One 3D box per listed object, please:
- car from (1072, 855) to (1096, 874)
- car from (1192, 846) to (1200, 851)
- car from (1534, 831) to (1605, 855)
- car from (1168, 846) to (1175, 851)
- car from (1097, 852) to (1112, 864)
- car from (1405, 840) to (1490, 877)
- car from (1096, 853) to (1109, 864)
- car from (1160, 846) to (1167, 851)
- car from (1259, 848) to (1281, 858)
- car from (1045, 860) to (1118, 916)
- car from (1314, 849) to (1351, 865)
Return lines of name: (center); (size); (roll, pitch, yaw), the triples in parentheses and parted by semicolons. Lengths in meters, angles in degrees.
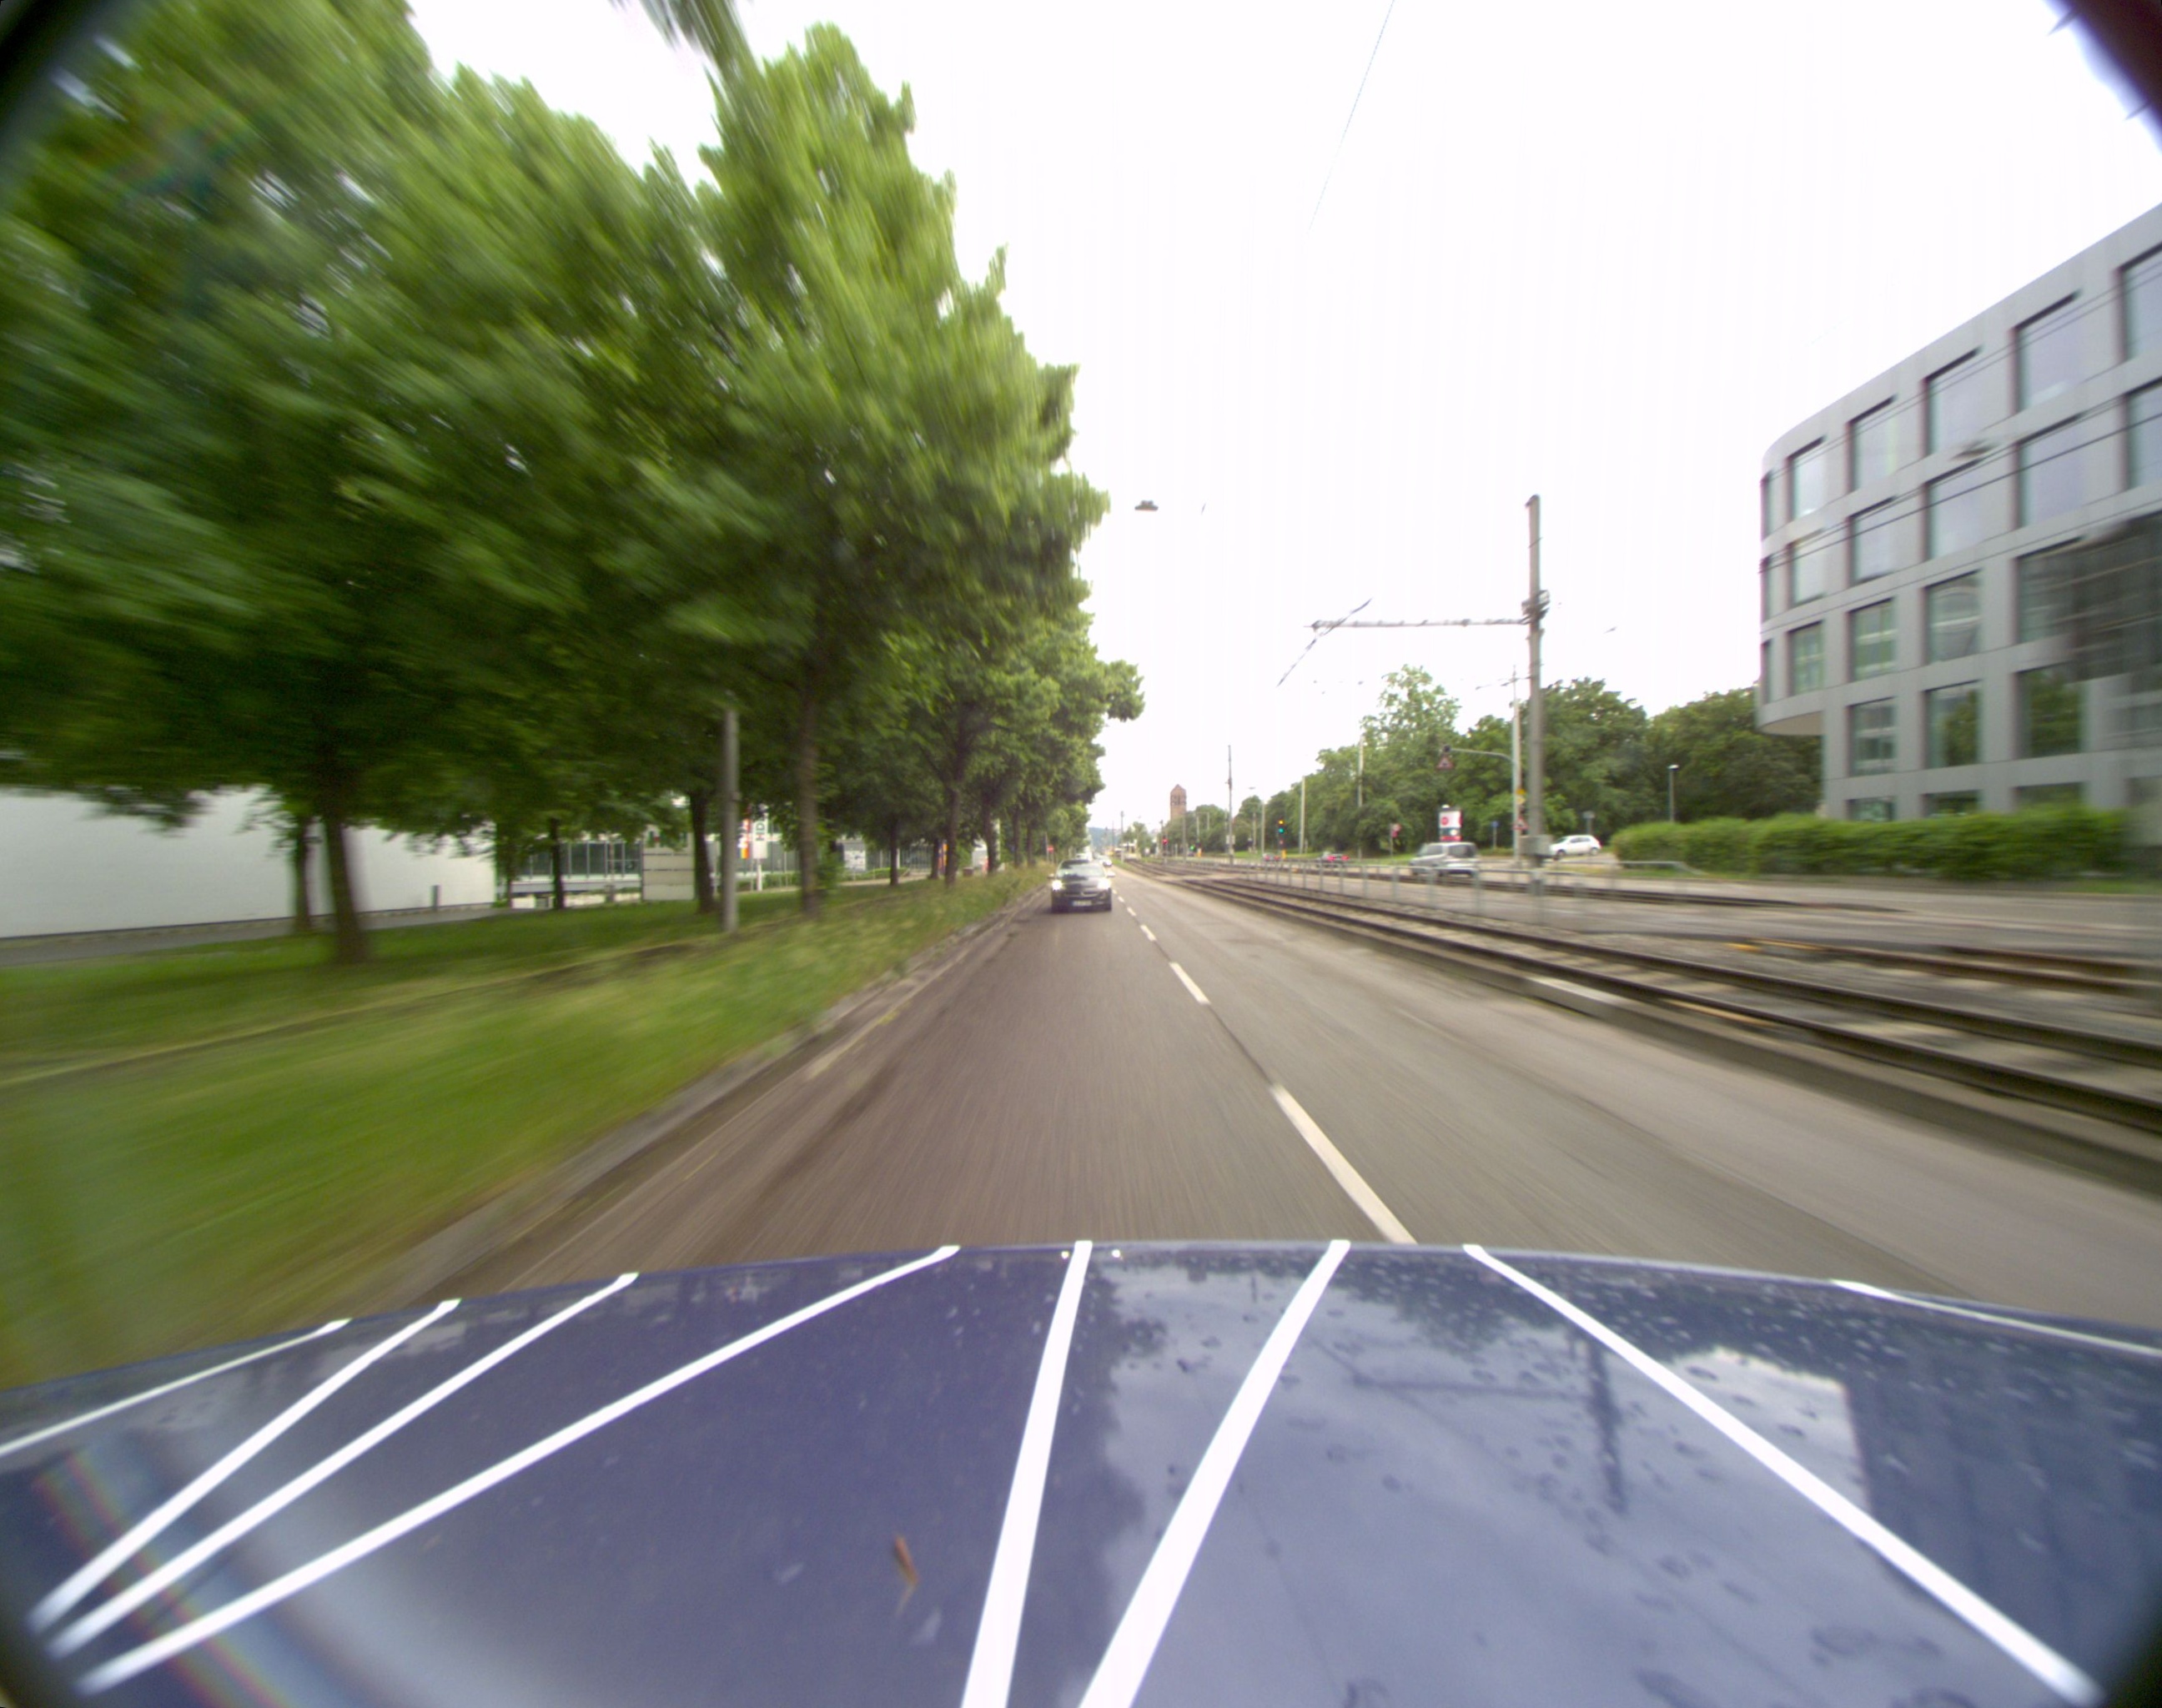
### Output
car: (0.265, 0.938, 68.319); (1.998, 1.608, 4.000); (-2, 0, 0)
car: (28.836, -1.395, 190.501); (1.765, 1.389, 3.901); (-1, 0, 3)
car: (35.503, -0.761, 55.269); (3.930, 1.444, 1.925); (-4, 1, -2)
car: (28.322, -1.785, 238.655); (1.952, 1.586, 4.848); (-1, 0, 3)
car: (3.073, 0.569, 99.365); (1.899, 1.432, 4.246); (-2, 0, 1)
car: (17.851, 0.195, 37.302); (1.907, 1.635, 4.884); (-1, 0, 2)
car: (3.261, 0.695, 116.282); (1.812, 1.566, 3.971); (-2, 1, 1)
car: (24.983, -1.654, 230.695); (1.895, 1.478, 4.309); (-1, 0, 3)
car: (23.887, -0.102, 96.124); (1.761, 1.237, 3.987); (-1, 0, 1)
car: (0.042, 0.943, 22.745); (1.899, 1.432, 4.474); (-2, 0, 1)
car: (21.791, 0.213, 66.037); (1.802, 1.339, 4.259); (-1, 0, 1)
